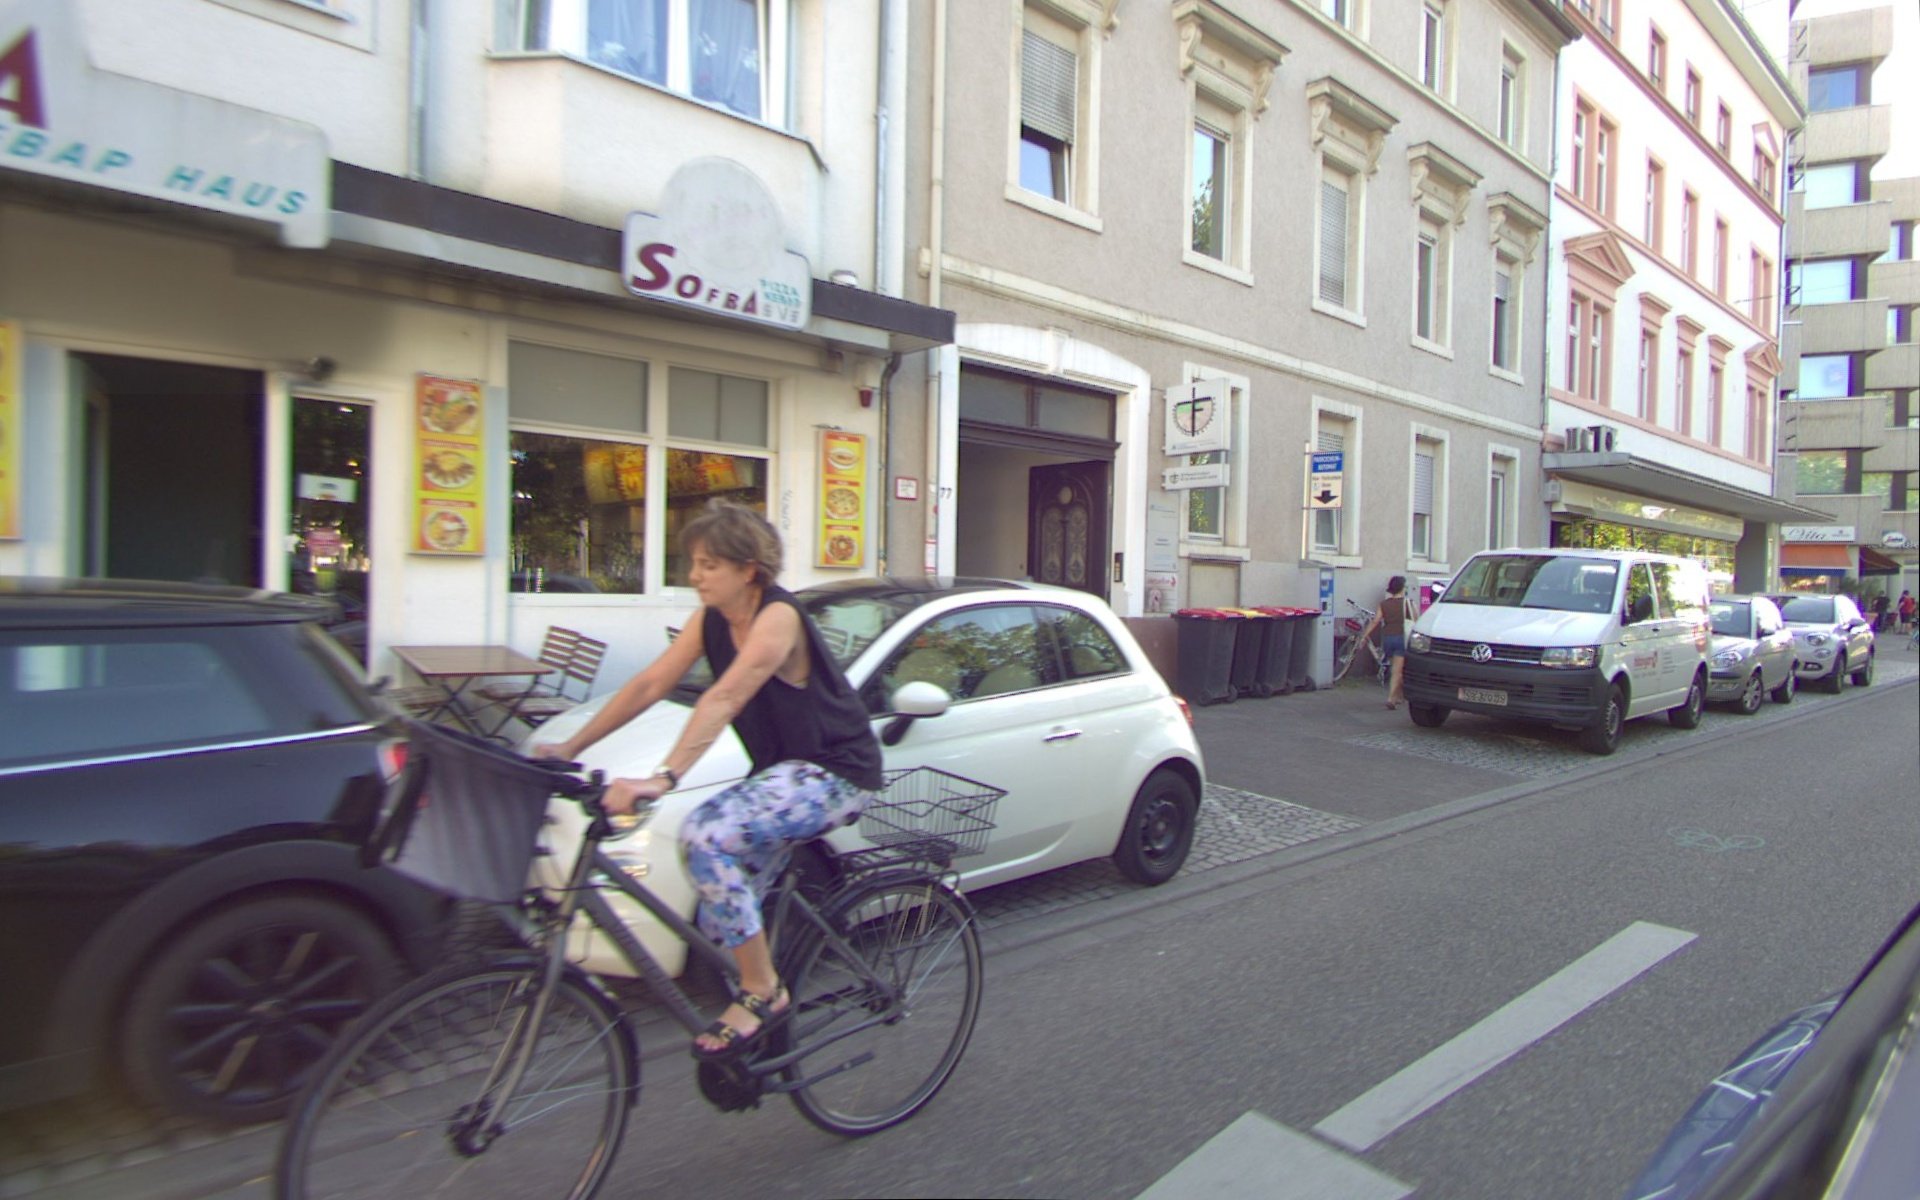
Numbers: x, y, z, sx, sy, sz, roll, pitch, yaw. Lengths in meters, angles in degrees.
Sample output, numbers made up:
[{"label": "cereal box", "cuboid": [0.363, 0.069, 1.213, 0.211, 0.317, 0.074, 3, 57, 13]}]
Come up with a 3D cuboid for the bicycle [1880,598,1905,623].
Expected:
[{"label": "bicycle", "cuboid": [40.314, 0.457, 43.738, 1.615, 1.047, 0.564, -1, 0, -39]}]

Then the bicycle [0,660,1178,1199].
[{"label": "bicycle", "cuboid": [-0.573, 0.718, 2.410, 2.651, 0.970, 0.653, -1, 0, -40]}]

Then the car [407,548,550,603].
[{"label": "car", "cuboid": [-16.263, -0.814, 34.339, 1.988, 1.716, 3.948, -1, 1, 36]}]

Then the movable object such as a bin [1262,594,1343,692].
[{"label": "movable object such as a bin", "cuboid": [4.319, 0.523, 12.762, 0.568, 1.175, 0.771, -1, 0, -36]}]

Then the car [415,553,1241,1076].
[{"label": "car", "cuboid": [-0.448, 0.581, 4.811, 3.519, 1.533, 1.722, -1, 4, -40]}]

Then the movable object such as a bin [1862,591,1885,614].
[{"label": "movable object such as a bin", "cuboid": [55.161, 0.142, 61.128, 0.835, 1.401, 0.796, -1, 0, -31]}]

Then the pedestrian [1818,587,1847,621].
[{"label": "pedestrian", "cuboid": [35.994, 0.156, 41.758, 0.840, 1.308, 0.820, 3, 3, 39]}]

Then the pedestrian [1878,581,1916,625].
[{"label": "pedestrian", "cuboid": [37.927, 0.117, 40.967, 0.834, 1.731, 0.714, 3, 2, 23]}]

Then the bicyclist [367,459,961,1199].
[{"label": "bicyclist", "cuboid": [-0.669, 0.492, 2.334, 1.076, 1.471, 0.787, -1, 0, -40]}]

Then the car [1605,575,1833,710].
[{"label": "car", "cuboid": [10.690, 0.475, 14.179, 3.689, 1.624, 1.703, -1, 2, -39]}]

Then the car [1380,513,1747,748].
[{"label": "car", "cuboid": [6.799, 0.245, 11.133, 5.028, 2.030, 1.997, 0, 1, -41]}]

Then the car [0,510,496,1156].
[{"label": "car", "cuboid": [-3.332, 0.546, 2.450, 3.717, 1.466, 1.682, -1, 1, -39]}]

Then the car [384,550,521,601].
[{"label": "car", "cuboid": [-18.138, -0.872, 36.305, 1.987, 1.716, 3.951, -1, 1, 35]}]

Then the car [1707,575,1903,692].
[{"label": "car", "cuboid": [14.723, 0.466, 17.532, 4.873, 1.760, 1.749, -1, 1, -40]}]

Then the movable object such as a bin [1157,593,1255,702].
[{"label": "movable object such as a bin", "cuboid": [2.798, 0.515, 11.549, 0.686, 1.151, 0.841, -1, 2, -36]}]

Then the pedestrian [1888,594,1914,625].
[{"label": "pedestrian", "cuboid": [39.002, 0.379, 41.951, 0.613, 1.251, 0.632, -1, 3, -36]}]

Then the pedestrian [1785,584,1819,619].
[{"label": "pedestrian", "cuboid": [34.614, 0.074, 41.613, 0.834, 1.420, 0.748, -1, -1, 21]}]

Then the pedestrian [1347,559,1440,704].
[{"label": "pedestrian", "cuboid": [5.202, 0.356, 12.177, 0.450, 1.625, 0.752, -1, 8, -39]}]

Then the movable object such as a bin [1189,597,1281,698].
[{"label": "movable object such as a bin", "cuboid": [3.272, 0.538, 12.074, 0.648, 1.089, 0.797, -1, 4, -37]}]

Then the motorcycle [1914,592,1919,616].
[{"label": "motorcycle", "cuboid": [48.793, 0.219, 50.743, 2.006, 1.168, 0.767, -1, 4, -30]}]

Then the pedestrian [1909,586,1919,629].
[{"label": "pedestrian", "cuboid": [38.931, 0.305, 41.005, 0.685, 1.736, 0.585, -1, 0, -36]}]

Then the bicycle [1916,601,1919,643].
[{"label": "bicycle", "cuboid": [29.338, 0.672, 29.783, 0.645, 1.259, 1.630, -1, 0, -19]}]

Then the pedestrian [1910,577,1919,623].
[{"label": "pedestrian", "cuboid": [39.601, 0.018, 41.565, 0.599, 1.878, 0.673, -1, 4, -36]}]

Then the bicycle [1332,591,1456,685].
[{"label": "bicycle", "cuboid": [5.972, 0.497, 13.920, 1.684, 1.200, 0.486, -1, 3, -21]}]
